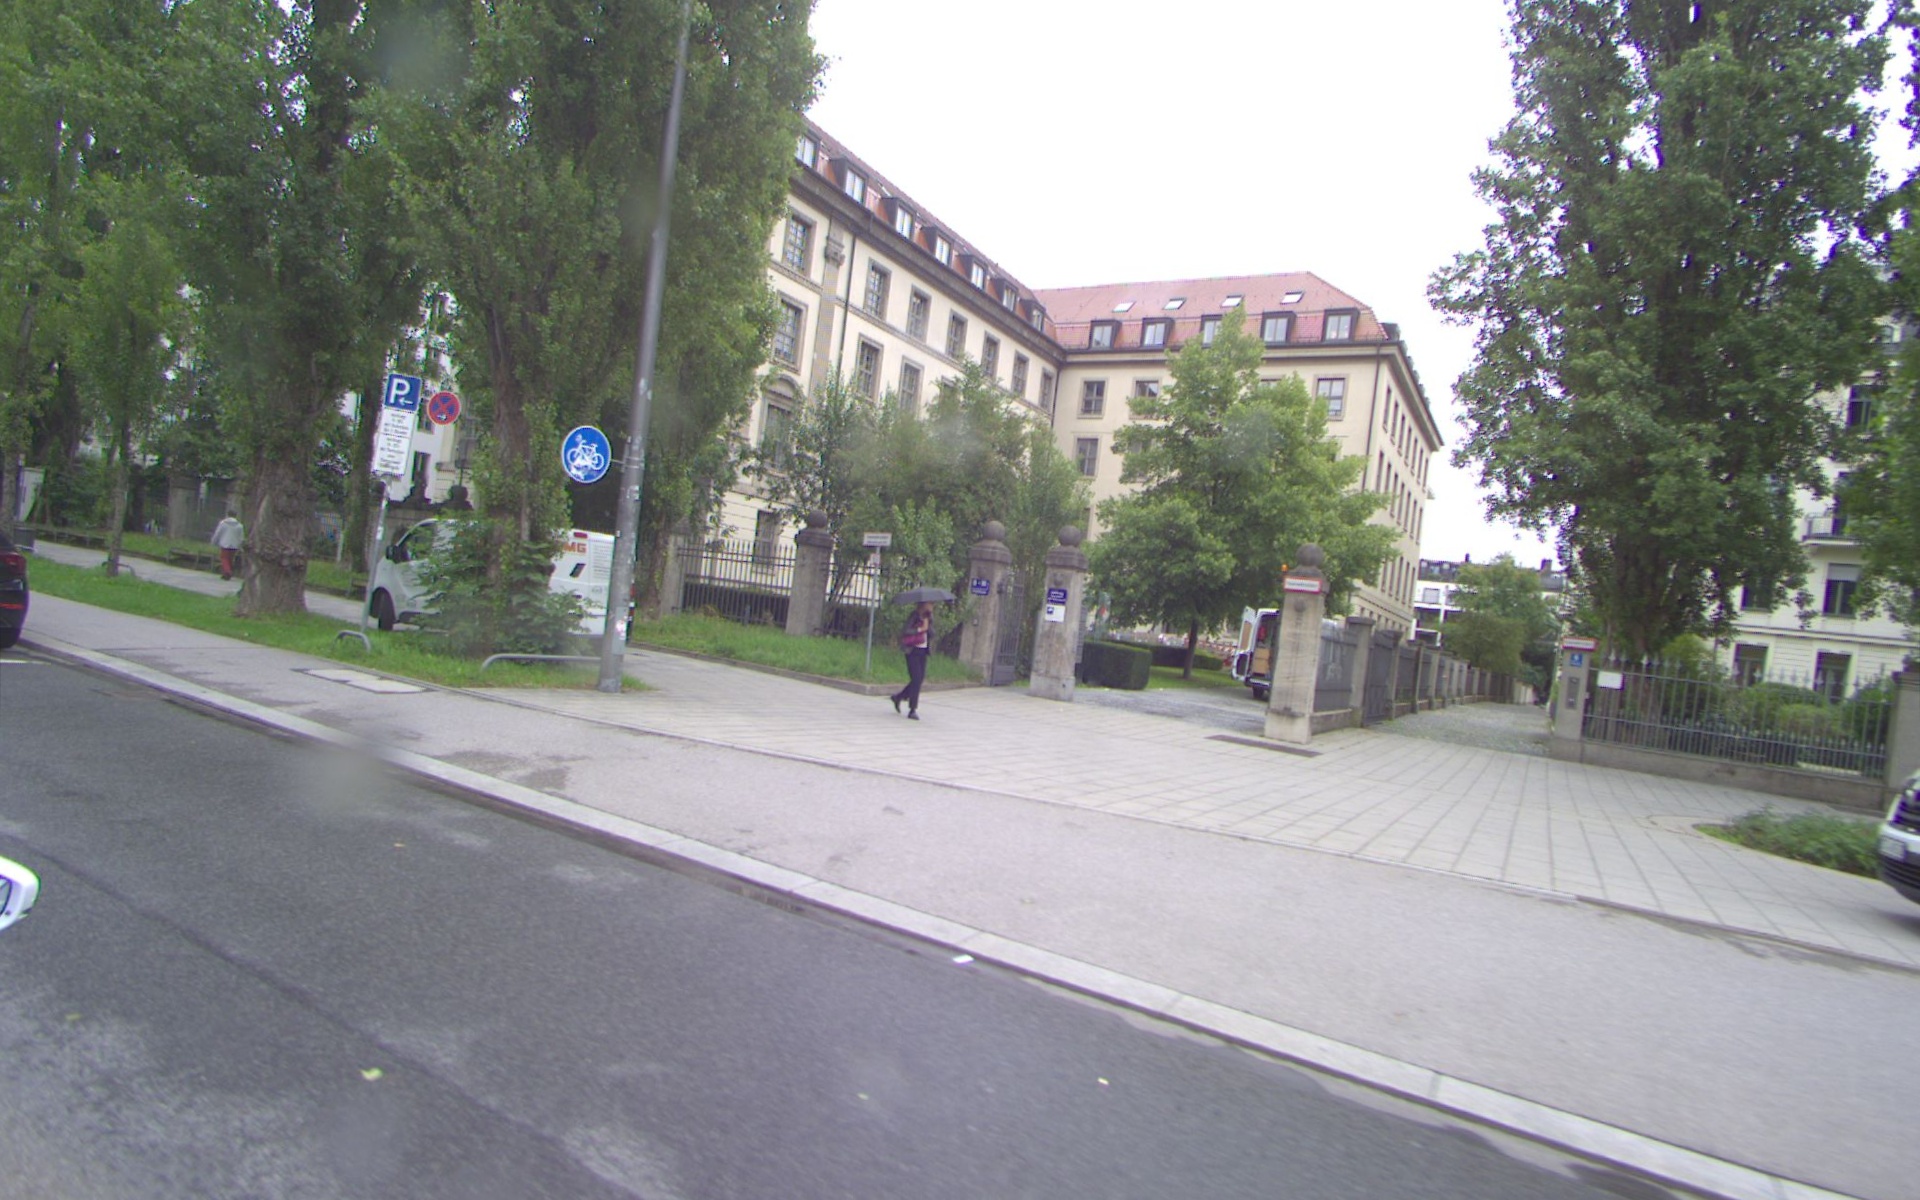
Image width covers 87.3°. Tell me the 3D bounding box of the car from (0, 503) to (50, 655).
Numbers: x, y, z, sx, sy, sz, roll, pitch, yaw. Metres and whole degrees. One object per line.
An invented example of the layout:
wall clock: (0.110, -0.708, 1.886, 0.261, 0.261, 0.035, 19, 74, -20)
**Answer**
car: (-11.137, -0.438, 10.160, 3.932, 1.437, 1.679, 7, 0, 30)

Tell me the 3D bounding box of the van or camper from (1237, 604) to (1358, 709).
van or camper: (10.557, 1.797, 31.153, 2.212, 2.739, 5.217, 7, 0, 31)

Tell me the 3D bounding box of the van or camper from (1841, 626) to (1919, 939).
van or camper: (8.641, 1.454, 5.766, 4.901, 2.037, 2.008, 7, -1, 30)

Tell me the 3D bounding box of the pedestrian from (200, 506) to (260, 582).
pedestrian: (-18.587, -1.420, 25.620, 0.880, 1.790, 0.796, 7, 0, 31)

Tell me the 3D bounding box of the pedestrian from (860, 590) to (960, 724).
pedestrian: (-0.652, 0.746, 13.212, 0.827, 1.628, 0.773, 7, 0, 34)

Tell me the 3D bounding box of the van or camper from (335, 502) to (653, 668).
van or camper: (-7.477, -0.269, 16.000, 4.953, 1.956, 1.979, 7, -1, 31)
